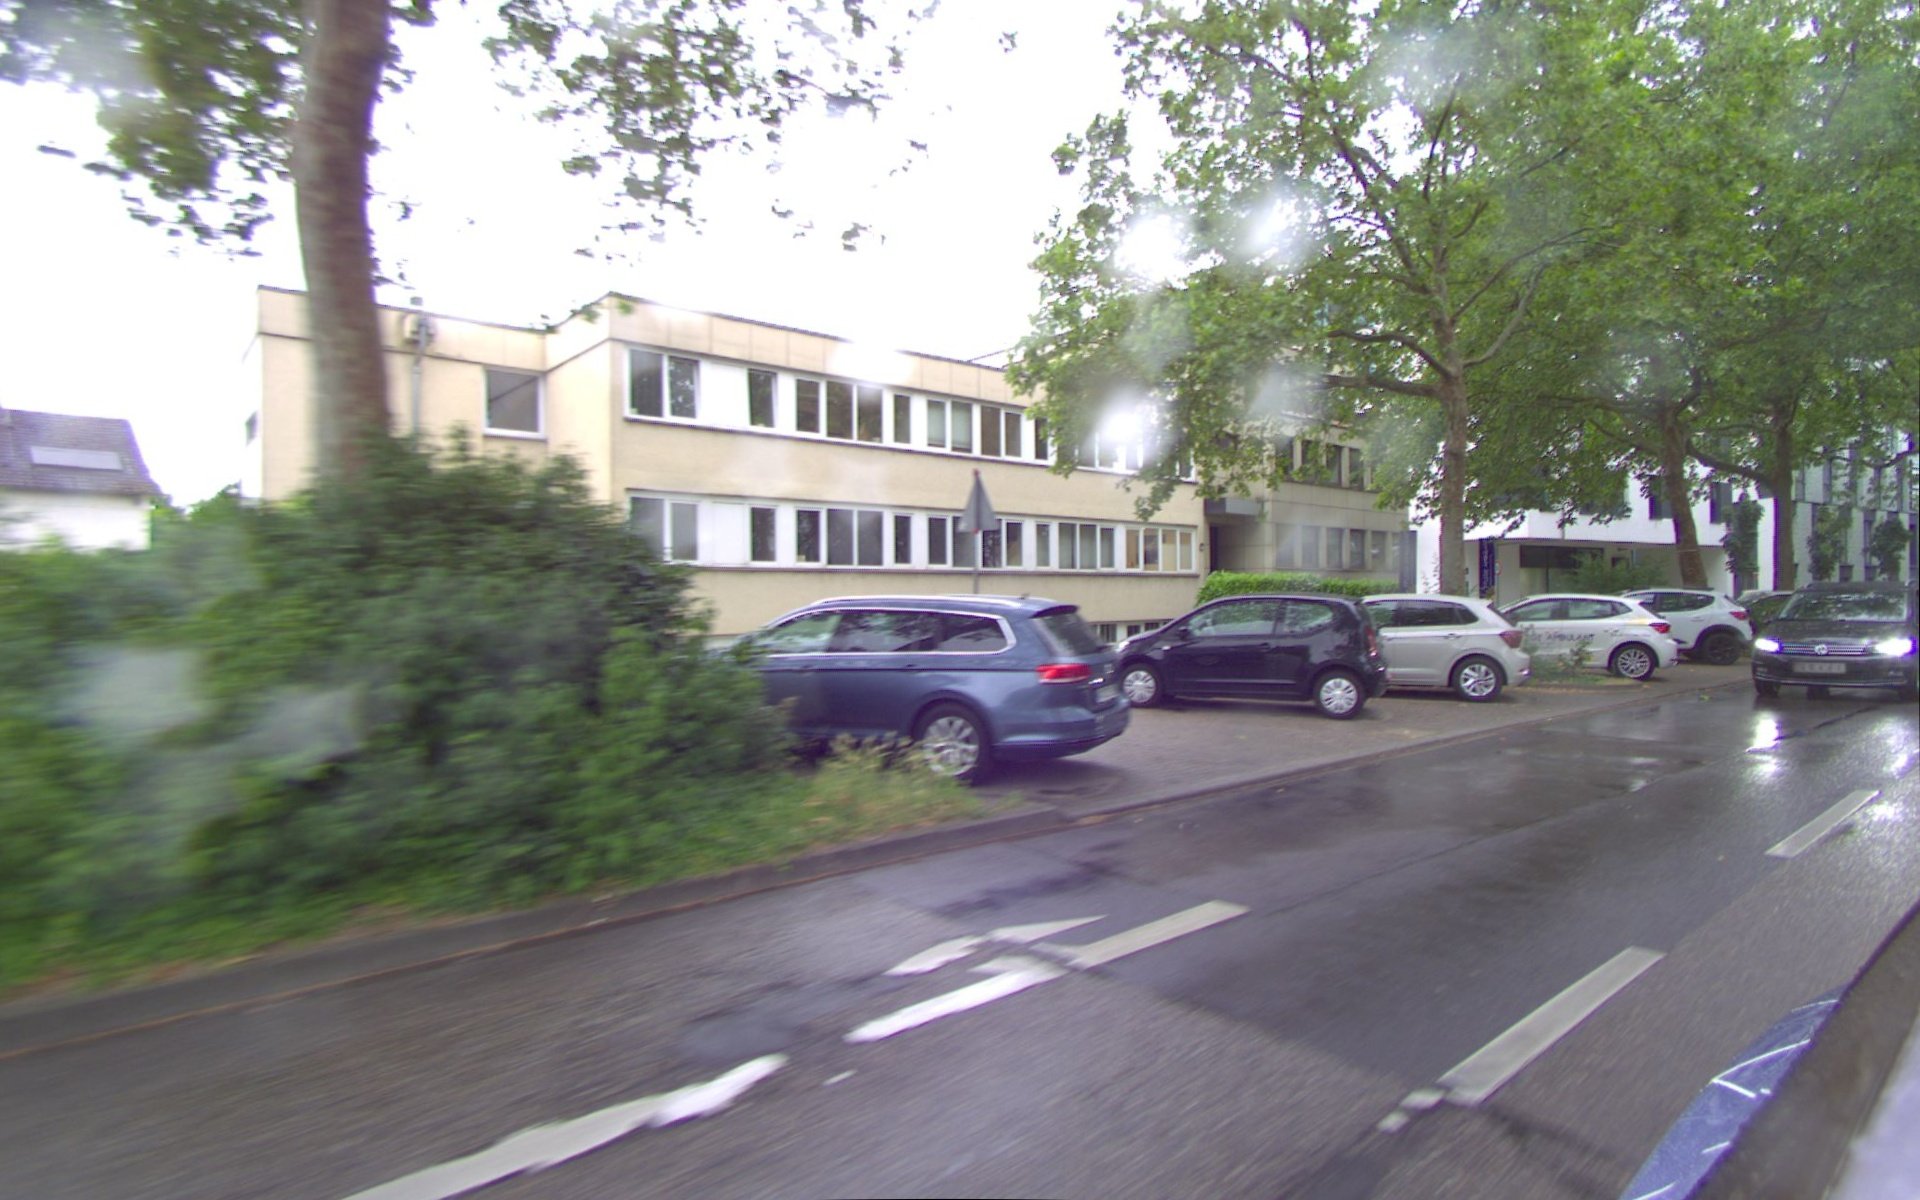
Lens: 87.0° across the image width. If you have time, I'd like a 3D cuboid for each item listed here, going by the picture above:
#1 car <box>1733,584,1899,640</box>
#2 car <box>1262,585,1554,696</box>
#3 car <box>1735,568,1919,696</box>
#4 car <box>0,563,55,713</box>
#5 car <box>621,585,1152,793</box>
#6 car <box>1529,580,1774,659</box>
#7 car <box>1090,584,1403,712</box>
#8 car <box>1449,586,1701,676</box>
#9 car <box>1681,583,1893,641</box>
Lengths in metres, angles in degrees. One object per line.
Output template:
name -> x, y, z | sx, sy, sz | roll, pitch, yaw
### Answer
car -> 25.084, 0.324, 29.802 | 3.630, 1.523, 1.724 | 1, 0, 40
car -> 6.382, 0.512, 14.700 | 3.652, 1.434, 1.762 | 0, 1, 24
car -> 13.717, 0.367, 15.199 | 5.488, 1.614, 1.998 | -1, 0, -38
car -> -13.219, 0.442, 13.388 | 1.718, 1.779, 4.545 | -1, 1, -40
car -> -0.701, 0.617, 8.968 | 4.449, 1.477, 1.734 | 0, 1, 26
car -> 14.493, 0.372, 21.491 | 3.991, 1.558, 1.736 | 0, 1, 23
car -> 3.670, 0.530, 12.962 | 3.652, 1.434, 1.735 | 0, 1, 24
car -> 10.697, 0.482, 17.912 | 3.658, 1.434, 1.732 | 0, 1, 28
car -> 21.787, 0.290, 26.863 | 3.994, 1.446, 1.735 | 0, 1, 24
